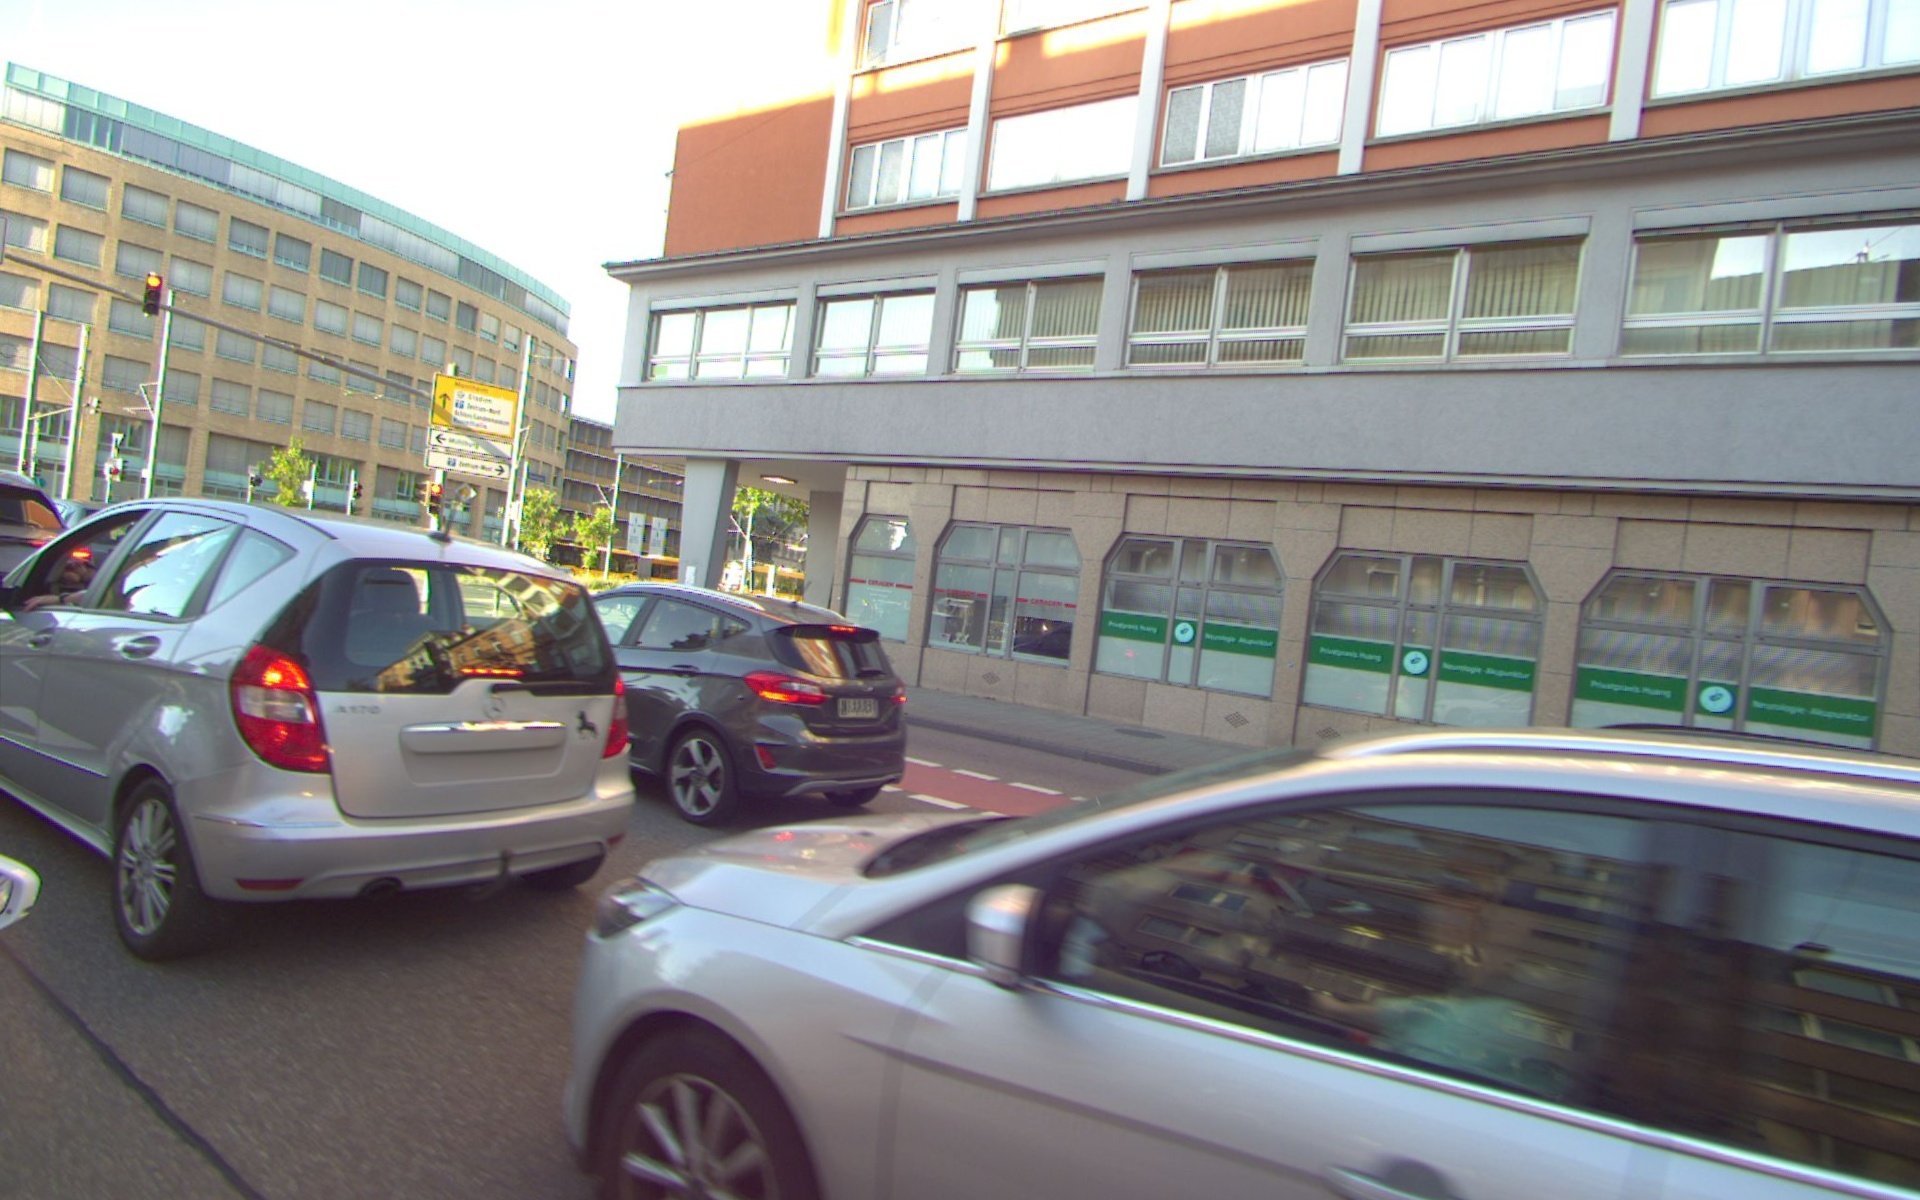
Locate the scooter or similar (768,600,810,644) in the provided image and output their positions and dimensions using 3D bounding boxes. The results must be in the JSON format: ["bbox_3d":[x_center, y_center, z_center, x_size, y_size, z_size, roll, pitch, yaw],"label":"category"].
[{"bbox_3d":[-5.386,0.701,31.714,1.129,1.261,0.424,6,1,-37],"label":"scooter or similar"}]

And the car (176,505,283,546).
[{"bbox_3d":[-43.237,-4.386,59.684,1.966,1.617,4.655,7,-1,30],"label":"car"}]

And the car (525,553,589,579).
[{"bbox_3d":[-30.150,-2.529,75.441,1.966,1.362,3.993,7,-1,31],"label":"car"}]

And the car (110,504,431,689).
[{"bbox_3d":[-7.474,-0.060,10.840,3.421,1.524,1.491,7,0,32],"label":"car"}]

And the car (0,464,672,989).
[{"bbox_3d":[-3.402,0.320,4.878,3.558,1.587,1.806,7,0,32],"label":"car"}]

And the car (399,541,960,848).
[{"bbox_3d":[-2.268,0.565,7.697,4.170,1.502,1.653,7,-1,33],"label":"car"}]

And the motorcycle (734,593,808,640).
[{"bbox_3d":[-6.419,0.553,34.141,2.362,1.256,0.855,7,0,30],"label":"motorcycle"}]

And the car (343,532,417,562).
[{"bbox_3d":[-36.840,-3.346,63.995,1.694,1.358,3.612,7,-1,33],"label":"car"}]

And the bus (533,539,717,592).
[{"bbox_3d":[-27.909,-2.766,85.863,2.380,2.466,18.210,7,-1,27],"label":"bus"}]

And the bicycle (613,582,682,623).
[{"bbox_3d":[-10.222,0.091,32.986,0.730,1.130,2.088,7,0,31],"label":"bicycle"}]

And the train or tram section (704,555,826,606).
[{"bbox_3d":[-17.697,-1.615,93.884,3.630,3.215,17.167,7,-1,16],"label":"train or tram section"}]

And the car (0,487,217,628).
[{"bbox_3d":[-11.862,-0.619,13.635,3.588,1.463,1.587,7,-2,33],"label":"car"}]

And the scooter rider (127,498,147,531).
[{"bbox_3d":[-47.712,-4.958,58.344,0.468,1.836,0.679,8,1,39],"label":"scooter rider"}]

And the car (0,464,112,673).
[{"bbox_3d":[-9.638,-0.501,8.993,4.404,1.652,1.786,7,0,32],"label":"car"}]

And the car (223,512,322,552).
[{"bbox_3d":[-40.067,-3.948,58.732,1.968,1.634,4.232,7,-1,34],"label":"car"}]

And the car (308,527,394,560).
[{"bbox_3d":[-39.535,-3.658,65.395,1.966,1.520,4.236,7,-1,30],"label":"car"}]

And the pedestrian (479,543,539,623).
[{"bbox_3d":[-10.818,-0.397,24.154,0.659,1.790,0.944,8,1,37],"label":"pedestrian"}]

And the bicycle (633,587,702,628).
[{"bbox_3d":[-9.334,0.261,32.178,0.730,1.130,2.088,7,0,31],"label":"bicycle"}]

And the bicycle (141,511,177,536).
[{"bbox_3d":[-46.403,-4.413,58.283,0.468,1.187,1.518,8,0,39],"label":"bicycle"}]

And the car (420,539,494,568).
[{"bbox_3d":[-34.281,-3.164,68.654,1.966,1.362,3.993,7,-1,31],"label":"car"}]

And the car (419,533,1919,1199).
[{"bbox_3d":[1.028,0.903,1.962,4.238,1.527,1.710,7,-1,33],"label":"car"}]

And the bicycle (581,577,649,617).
[{"bbox_3d":[-11.543,-0.074,33.736,0.730,1.130,2.088,7,0,31],"label":"bicycle"}]

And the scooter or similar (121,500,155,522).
[{"bbox_3d":[-47.668,-5.164,58.356,0.468,1.014,1.399,8,0,39],"label":"scooter or similar"}]

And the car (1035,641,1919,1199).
[{"bbox_3d":[2.605,1.208,4.478,4.090,1.475,1.709,7,0,33],"label":"car"}]
